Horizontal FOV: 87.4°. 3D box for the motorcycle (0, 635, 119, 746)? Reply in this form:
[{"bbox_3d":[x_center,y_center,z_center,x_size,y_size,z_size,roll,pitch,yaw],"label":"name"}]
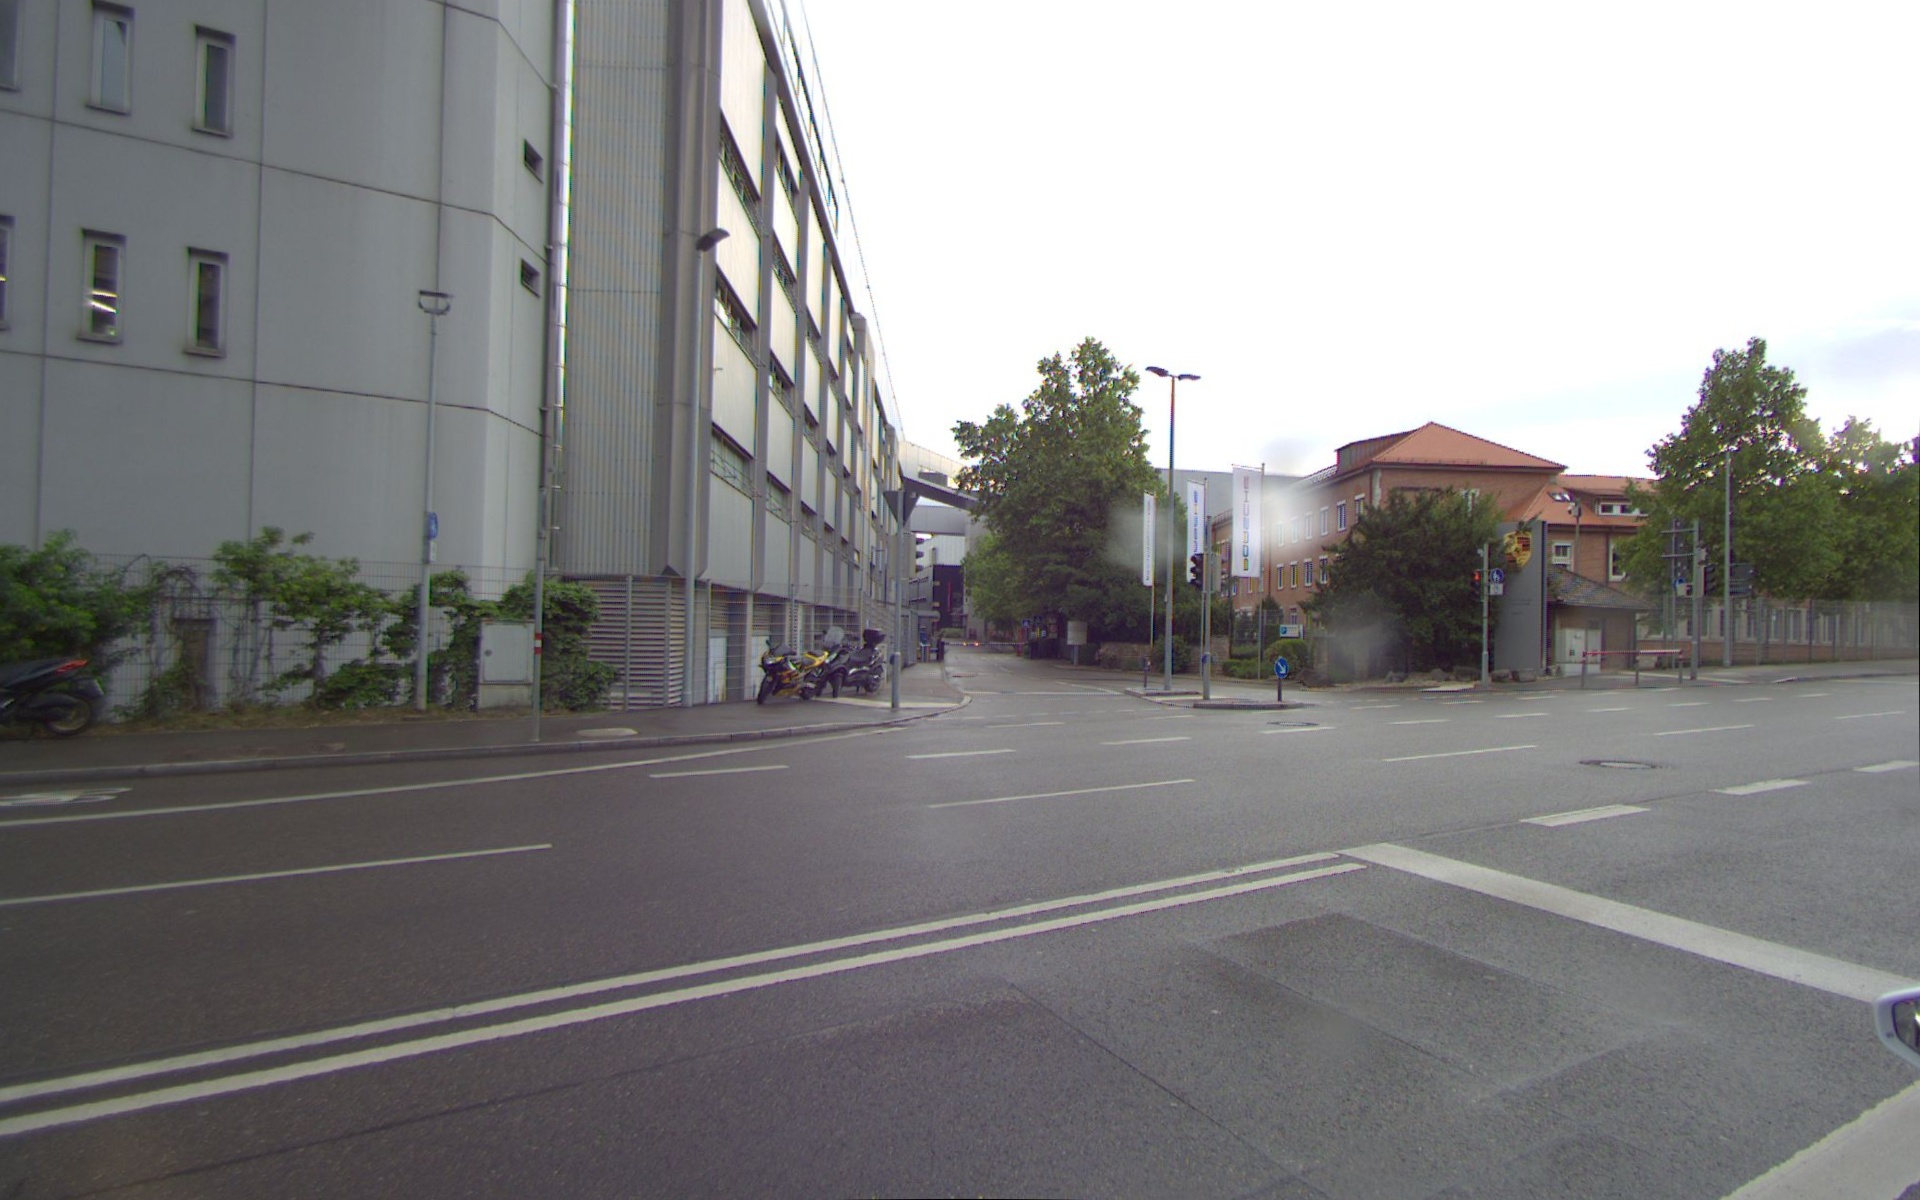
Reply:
[{"bbox_3d":[-11.352,1.048,11.801,2.133,1.263,0.780,2,-2,-32],"label":"motorcycle"}]

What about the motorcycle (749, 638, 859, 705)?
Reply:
[{"bbox_3d":[-3.074,1.382,20.088,0.759,1.234,2.504,0,-2,30],"label":"motorcycle"}]

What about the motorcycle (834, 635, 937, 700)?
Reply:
[{"bbox_3d":[-1.622,1.468,22.525,1.008,1.355,2.772,-1,-2,27],"label":"motorcycle"}]

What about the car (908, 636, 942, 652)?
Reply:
[{"bbox_3d":[-4.597,5.752,131.381,3.914,1.849,1.955,2,0,-31],"label":"car"}]
